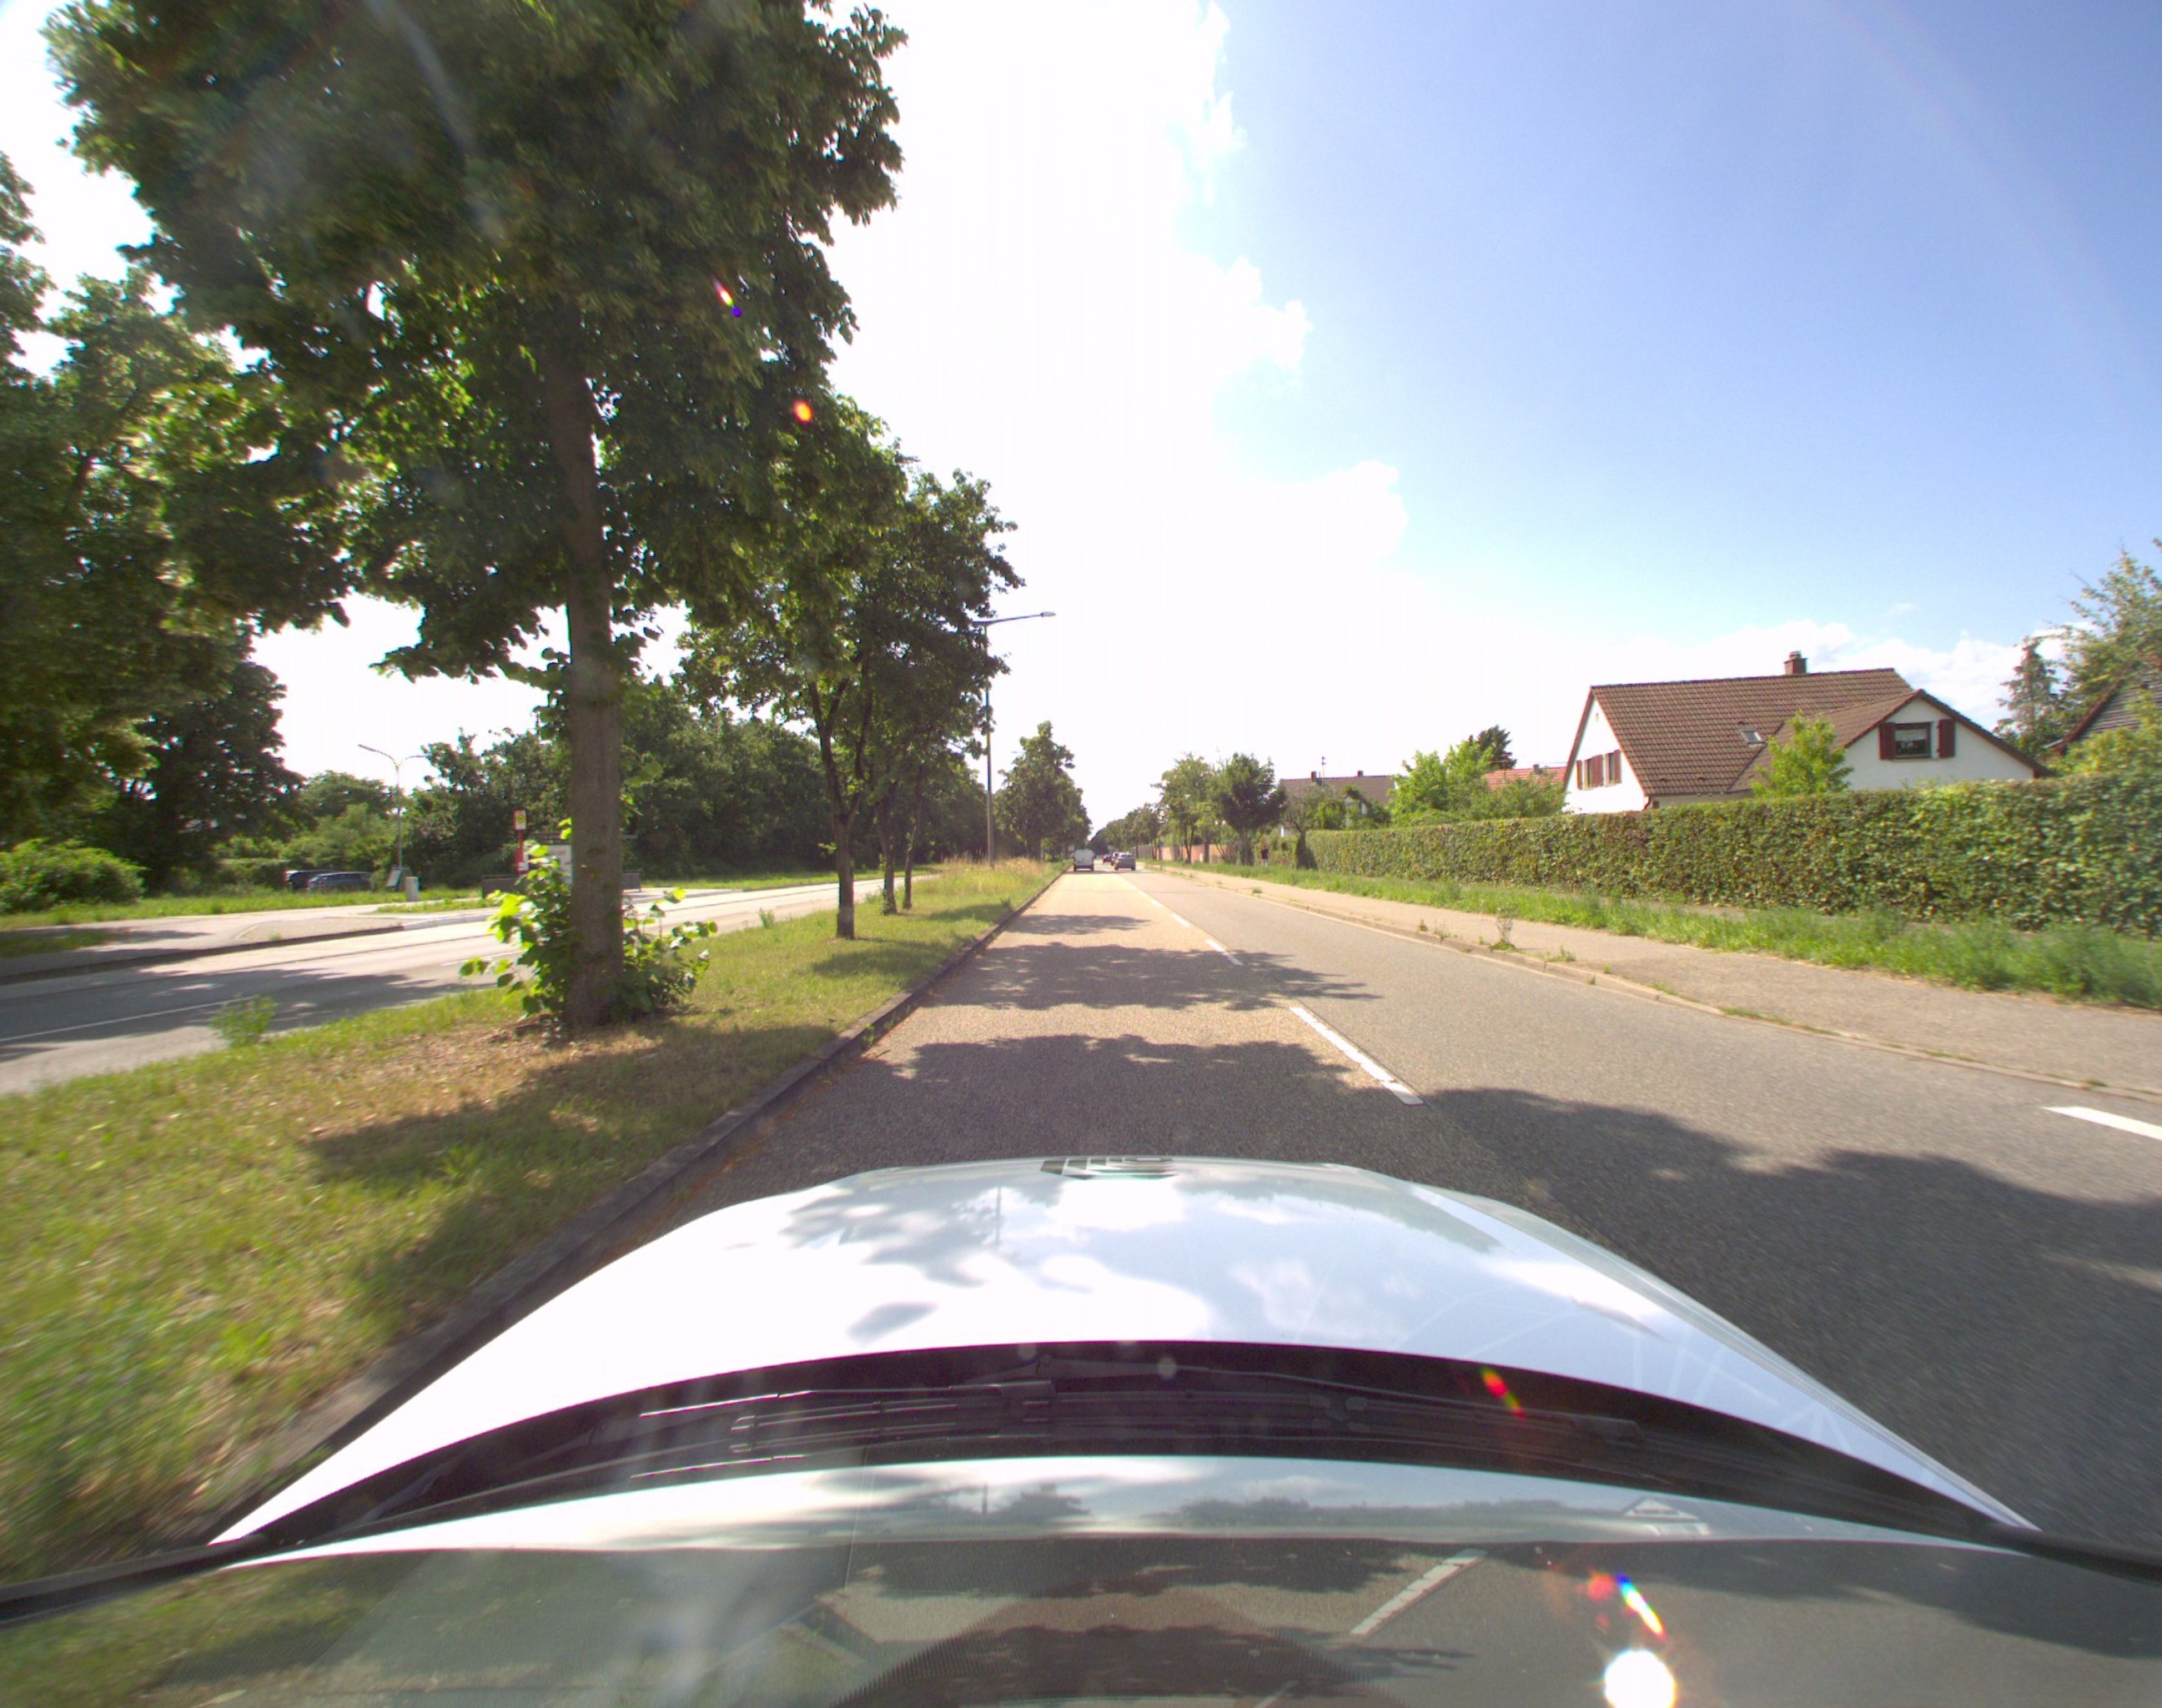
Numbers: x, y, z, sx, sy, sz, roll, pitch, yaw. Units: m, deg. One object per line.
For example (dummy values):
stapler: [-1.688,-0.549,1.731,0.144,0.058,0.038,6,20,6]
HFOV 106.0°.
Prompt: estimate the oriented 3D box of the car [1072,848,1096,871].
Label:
car: [0.265,0.461,71.717,2.059,1.912,4.646,-1,0,0]

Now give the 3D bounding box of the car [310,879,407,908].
car: [-43.219,2.343,48.778,1.737,1.508,4.026,-1,0,36]

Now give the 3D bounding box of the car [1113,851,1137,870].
car: [3.930,0.599,73.282,1.869,1.589,4.184,-1,0,0]

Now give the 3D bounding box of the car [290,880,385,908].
car: [-45.849,2.420,50.275,1.737,1.508,4.026,-1,0,36]

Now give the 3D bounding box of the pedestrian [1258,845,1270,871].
pedestrian: [11.846,0.261,52.710,0.558,1.677,0.634,-1,0,0]

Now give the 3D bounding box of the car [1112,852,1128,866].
car: [4.706,0.640,98.851,1.869,1.652,4.000,-1,0,0]

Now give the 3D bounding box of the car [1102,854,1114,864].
car: [4.524,0.898,136.573,1.874,1.587,4.000,-1,0,0]
